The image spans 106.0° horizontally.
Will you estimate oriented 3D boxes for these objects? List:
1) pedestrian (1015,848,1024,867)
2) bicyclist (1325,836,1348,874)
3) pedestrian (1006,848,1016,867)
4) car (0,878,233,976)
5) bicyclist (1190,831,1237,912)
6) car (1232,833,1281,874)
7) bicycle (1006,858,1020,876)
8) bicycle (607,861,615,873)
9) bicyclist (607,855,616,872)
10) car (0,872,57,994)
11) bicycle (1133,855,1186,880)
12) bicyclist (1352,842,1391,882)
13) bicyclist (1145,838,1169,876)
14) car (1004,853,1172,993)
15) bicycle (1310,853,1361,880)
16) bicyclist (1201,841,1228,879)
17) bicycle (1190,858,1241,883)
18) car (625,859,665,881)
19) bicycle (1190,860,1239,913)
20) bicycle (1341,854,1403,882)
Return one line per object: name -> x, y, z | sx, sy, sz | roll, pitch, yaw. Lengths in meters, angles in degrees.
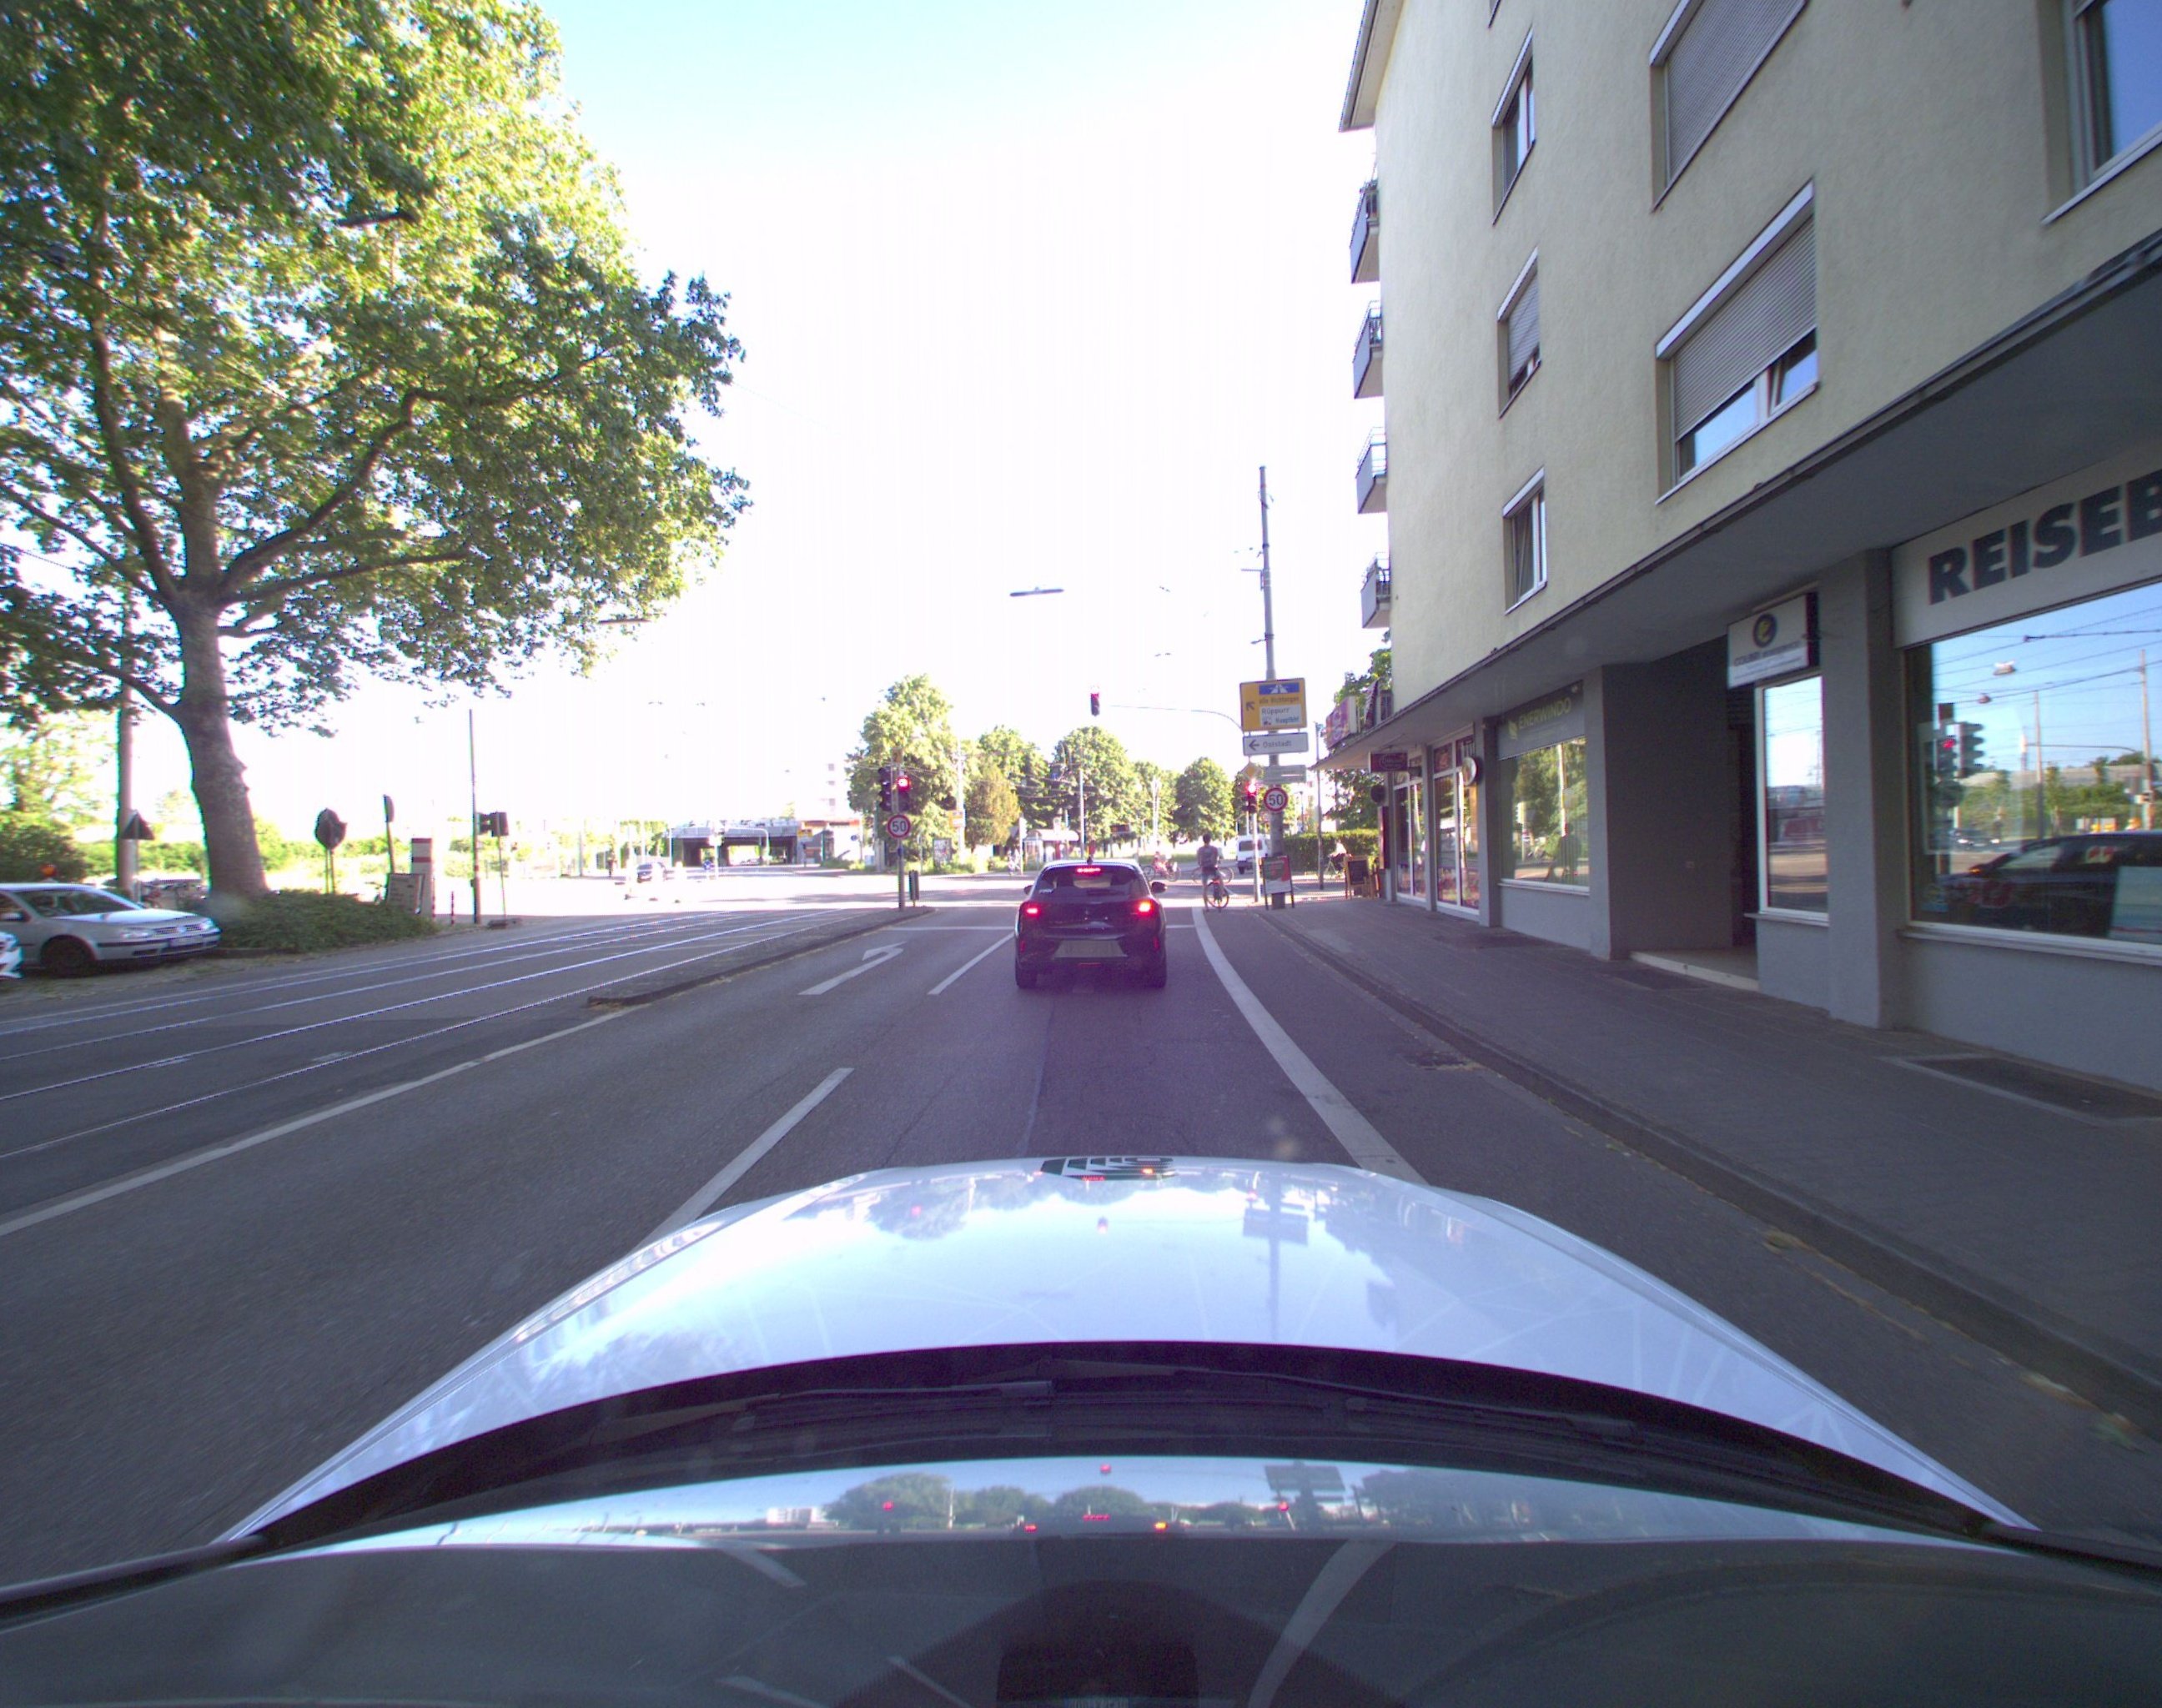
pedestrian -> -5.184, 0.304, 68.939 | 0.633, 1.630, 0.573 | 0, -1, 9
bicyclist -> 10.940, 0.042, 34.912 | 0.854, 1.595, 0.652 | -2, 0, 15
pedestrian -> -5.926, 0.288, 69.039 | 0.746, 1.630, 0.599 | 0, -1, 9
car -> -16.839, 1.127, 13.163 | 4.496, 1.429, 1.676 | 0, 0, 1
bicyclist -> 3.162, 0.406, 19.512 | 0.938, 1.851, 0.864 | -2, 0, 1
car -> 10.424, -0.072, 48.064 | 2.046, 2.248, 4.912 | -1, 0, 20
bicycle -> -4.027, 0.752, 48.484 | 0.603, 1.031, 1.983 | -1, 0, 2
bicycle -> -43.911, 1.234, 76.081 | 0.585, 1.060, 2.022 | -2, 0, -30
bicyclist -> -43.900, 0.909, 76.136 | 0.639, 1.563, 0.825 | -2, 0, -30
car -> -16.833, 1.058, 10.660 | 4.593, 1.618, 1.799 | 0, 0, 1
bicycle -> 3.593, 0.623, 37.291 | 2.276, 1.084, 0.804 | -2, 0, 14
bicyclist -> 11.500, 0.313, 32.288 | 1.113, 1.520, 0.918 | -2, 0, -11
bicyclist -> 3.494, 0.132, 37.305 | 0.920, 1.707, 0.879 | -2, 0, 14
car -> 0.153, 0.706, 10.490 | 1.720, 1.429, 4.189 | -1, 0, 2
bicycle -> 10.908, 0.550, 34.917 | 2.039, 1.094, 0.595 | -2, 0, 15
bicyclist -> 5.599, 0.250, 34.076 | 1.003, 1.570, 0.802 | -2, 0, 13
bicycle -> 5.633, 0.671, 34.074 | 2.044, 0.984, 0.675 | -2, 0, 13
car -> -30.965, 1.093, 57.971 | 1.830, 1.519, 3.870 | 1, -1, -18
bicycle -> 3.175, 0.748, 19.573 | 0.857, 1.153, 2.173 | -2, 0, 2
bicycle -> 11.538, 0.540, 32.294 | 2.192, 1.033, 0.831 | -2, 0, -11
